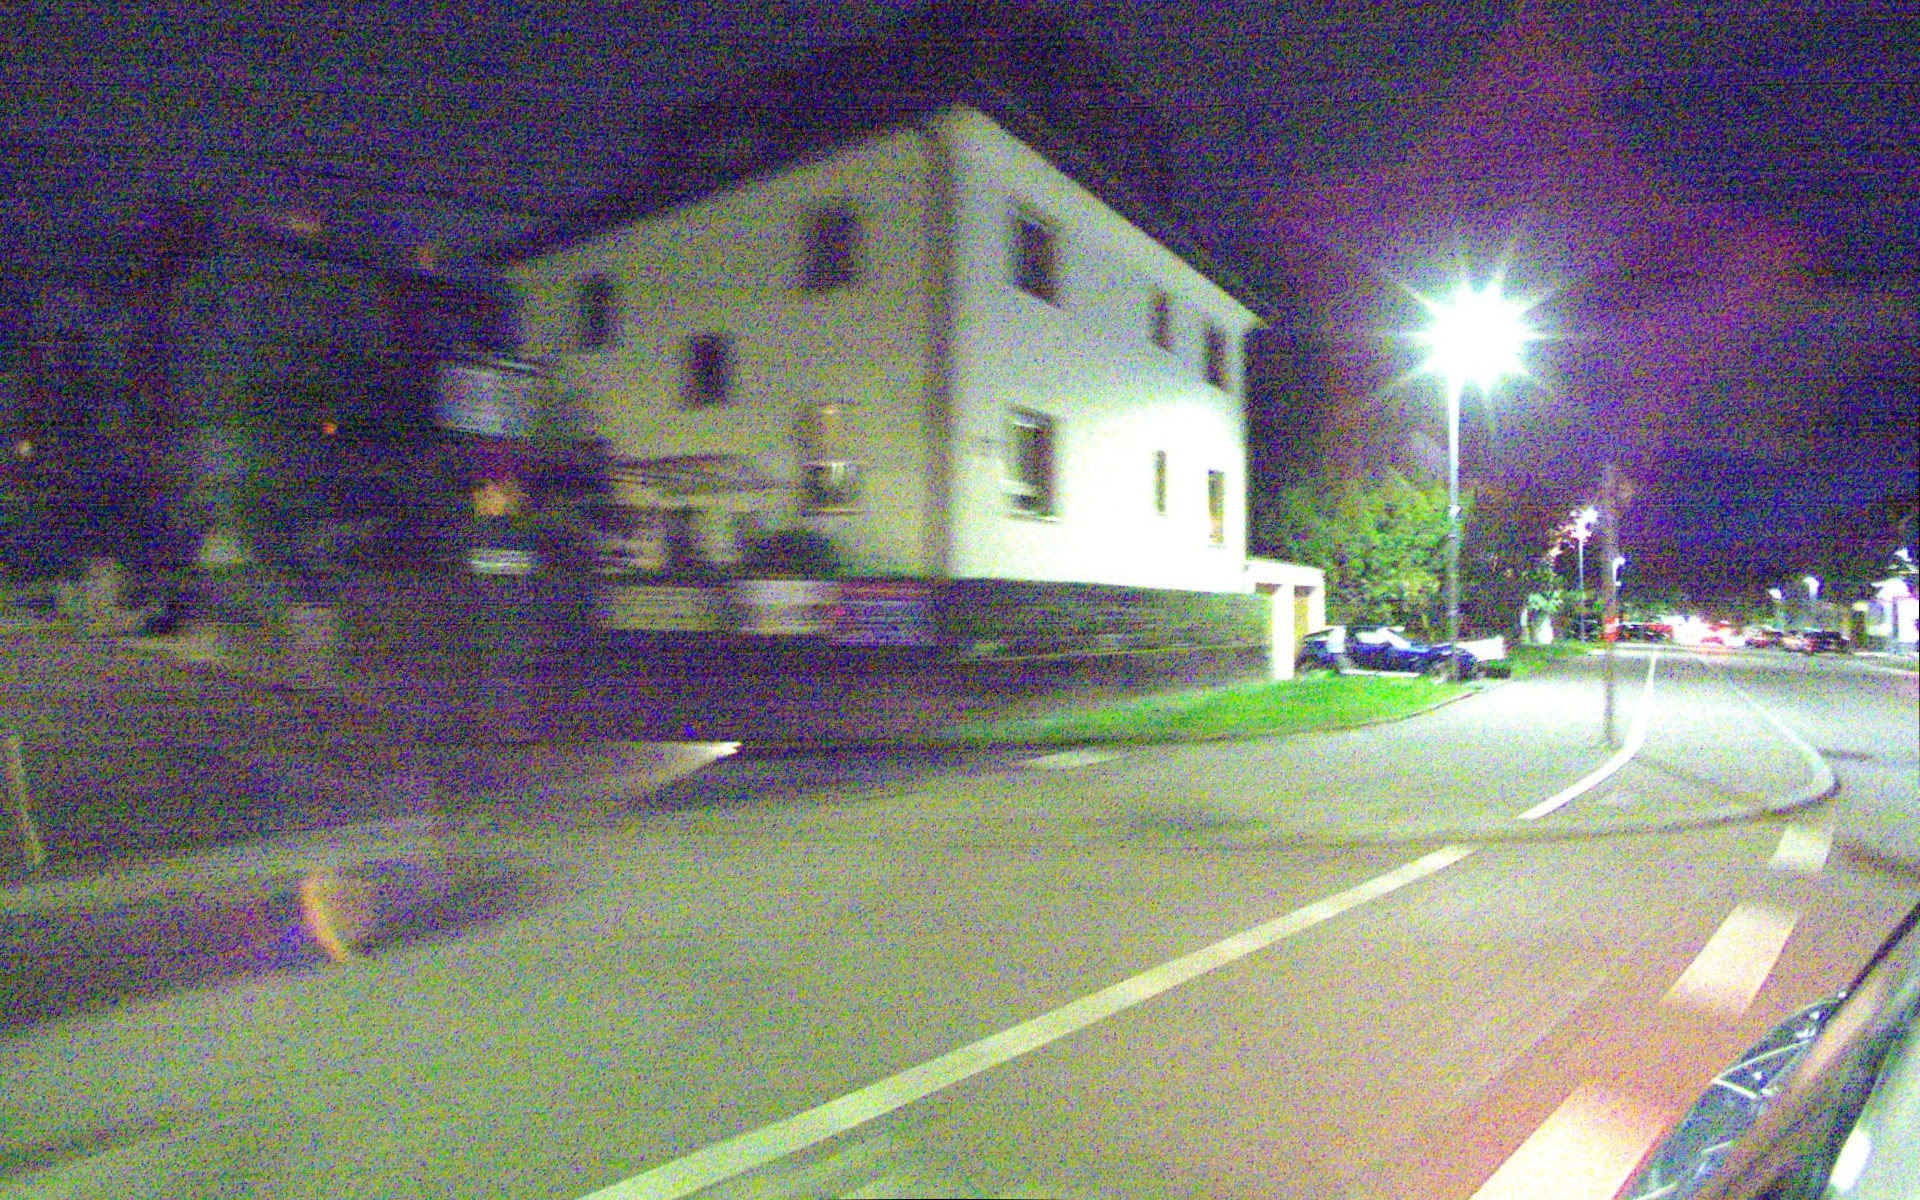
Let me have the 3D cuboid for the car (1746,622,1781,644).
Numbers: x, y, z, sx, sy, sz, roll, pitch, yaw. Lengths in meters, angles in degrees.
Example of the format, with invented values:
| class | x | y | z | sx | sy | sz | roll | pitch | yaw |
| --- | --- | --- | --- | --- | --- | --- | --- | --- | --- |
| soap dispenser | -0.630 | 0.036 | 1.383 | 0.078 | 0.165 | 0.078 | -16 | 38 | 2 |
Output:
| class | x | y | z | sx | sy | sz | roll | pitch | yaw |
| --- | --- | --- | --- | --- | --- | --- | --- | --- | --- |
| car | 77.097 | 3.174 | 97.177 | 2.107 | 1.972 | 4.828 | -2 | -3 | 33 |

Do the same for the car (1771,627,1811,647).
| class | x | y | z | sx | sy | sz | roll | pitch | yaw |
| --- | --- | --- | --- | --- | --- | --- | --- | --- | --- |
| car | 71.269 | 3.157 | 86.863 | 2.107 | 1.568 | 4.423 | -4 | -2 | 33 |

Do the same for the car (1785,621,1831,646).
| class | x | y | z | sx | sy | sz | roll | pitch | yaw |
| --- | --- | --- | --- | --- | --- | --- | --- | --- | --- |
| car | 58.741 | 2.324 | 70.158 | 1.921 | 1.658 | 4.415 | -1 | -2 | 34 |

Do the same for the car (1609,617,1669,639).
| class | x | y | z | sx | sy | sz | roll | pitch | yaw |
| --- | --- | --- | --- | --- | --- | --- | --- | --- | --- |
| car | 61.565 | 2.522 | 91.782 | 4.352 | 1.839 | 2.000 | 2 | -1 | 42 |

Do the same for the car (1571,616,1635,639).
| class | x | y | z | sx | sy | sz | roll | pitch | yaw |
| --- | --- | --- | --- | --- | --- | --- | --- | --- | --- |
| car | 47.700 | 2.043 | 75.086 | 3.894 | 1.505 | 1.808 | 3 | 0 | 36 |

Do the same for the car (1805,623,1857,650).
| class | x | y | z | sx | sy | sz | roll | pitch | yaw |
| --- | --- | --- | --- | --- | --- | --- | --- | --- | --- |
| car | 49.487 | 2.059 | 57.555 | 1.743 | 1.488 | 3.958 | 0 | -2 | 34 |

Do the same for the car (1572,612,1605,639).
| class | x | y | z | sx | sy | sz | roll | pitch | yaw |
| --- | --- | --- | --- | --- | --- | --- | --- | --- | --- |
| car | 39.811 | 1.603 | 64.065 | 1.634 | 1.580 | 3.632 | 1 | -1 | 34 |

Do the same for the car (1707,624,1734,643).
| class | x | y | z | sx | sy | sz | roll | pitch | yaw |
| --- | --- | --- | --- | --- | --- | --- | --- | --- | --- |
| car | 75.093 | 3.276 | 99.960 | 1.997 | 1.770 | 4.498 | 0 | -1 | 36 |

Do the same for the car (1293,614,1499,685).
| class | x | y | z | sx | sy | sz | roll | pitch | yaw |
| --- | --- | --- | --- | --- | --- | --- | --- | --- | --- |
| car | 8.345 | 0.918 | 19.431 | 3.379 | 1.248 | 1.703 | -1 | -2 | 34 |

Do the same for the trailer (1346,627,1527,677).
| class | x | y | z | sx | sy | sz | roll | pitch | yaw |
| --- | --- | --- | --- | --- | --- | --- | --- | --- | --- |
| trailer | 10.727 | 1.128 | 22.835 | 3.421 | 1.015 | 1.929 | -1 | -2 | 36 |
